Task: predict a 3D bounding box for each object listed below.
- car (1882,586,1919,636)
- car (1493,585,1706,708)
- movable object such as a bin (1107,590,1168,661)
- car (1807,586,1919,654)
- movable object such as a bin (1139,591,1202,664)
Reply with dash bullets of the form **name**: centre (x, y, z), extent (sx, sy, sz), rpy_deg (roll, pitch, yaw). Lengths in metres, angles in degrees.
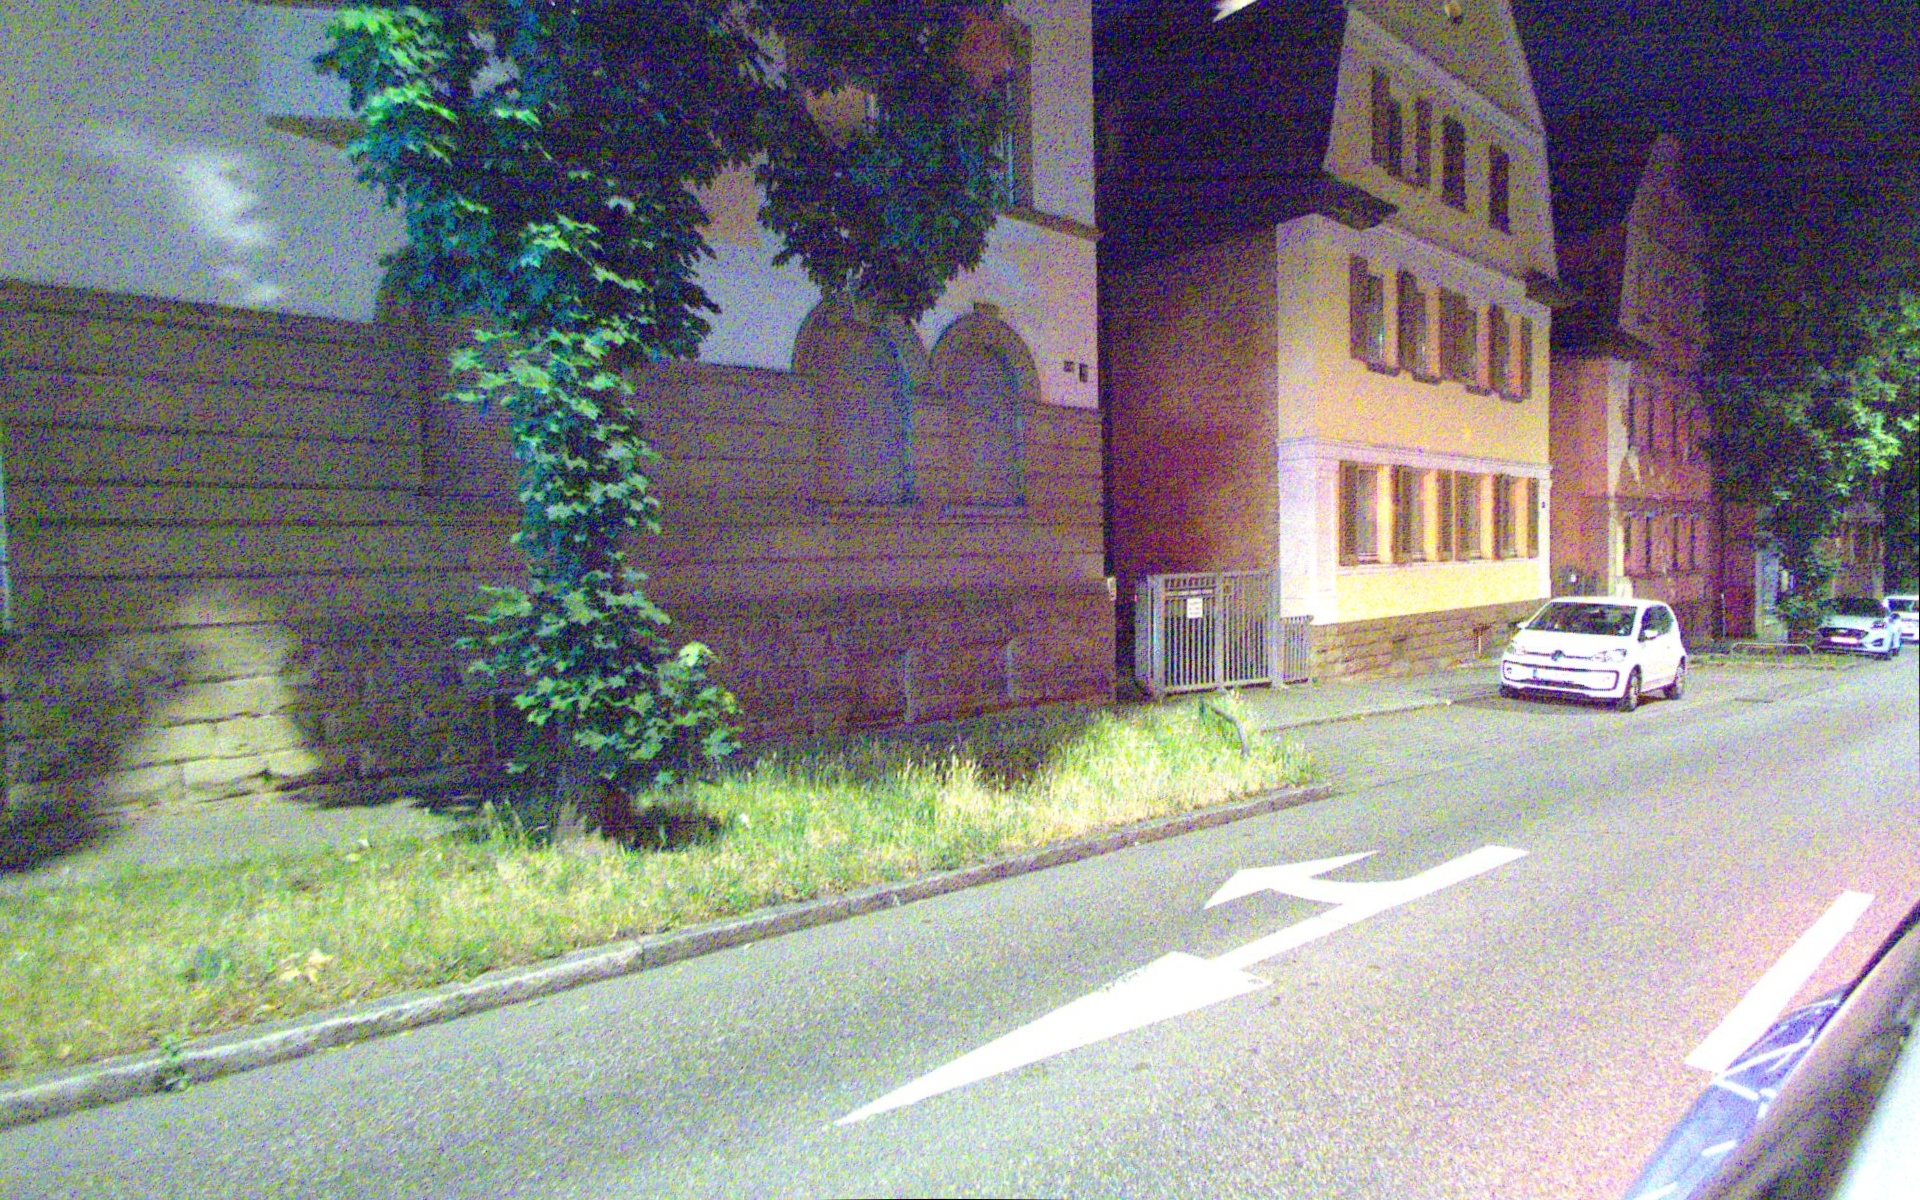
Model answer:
- **car**: centre (33.790, 0.385, 35.348), extent (4.281, 1.616, 1.742), rpy_deg (0, 3, -40)
- **car**: centre (9.323, 0.574, 14.658), extent (3.541, 1.503, 1.671), rpy_deg (0, 2, -42)
- **movable object such as a bin**: centre (2.772, 0.382, 15.778), extent (0.742, 1.062, 0.608), rpy_deg (0, 0, -41)
- **car**: centre (23.807, 0.466, 26.579), extent (3.977, 1.572, 1.862), rpy_deg (0, 3, -43)
- **movable object such as a bin**: centre (3.182, 0.399, 15.288), extent (0.742, 1.062, 0.608), rpy_deg (0, 0, -41)
